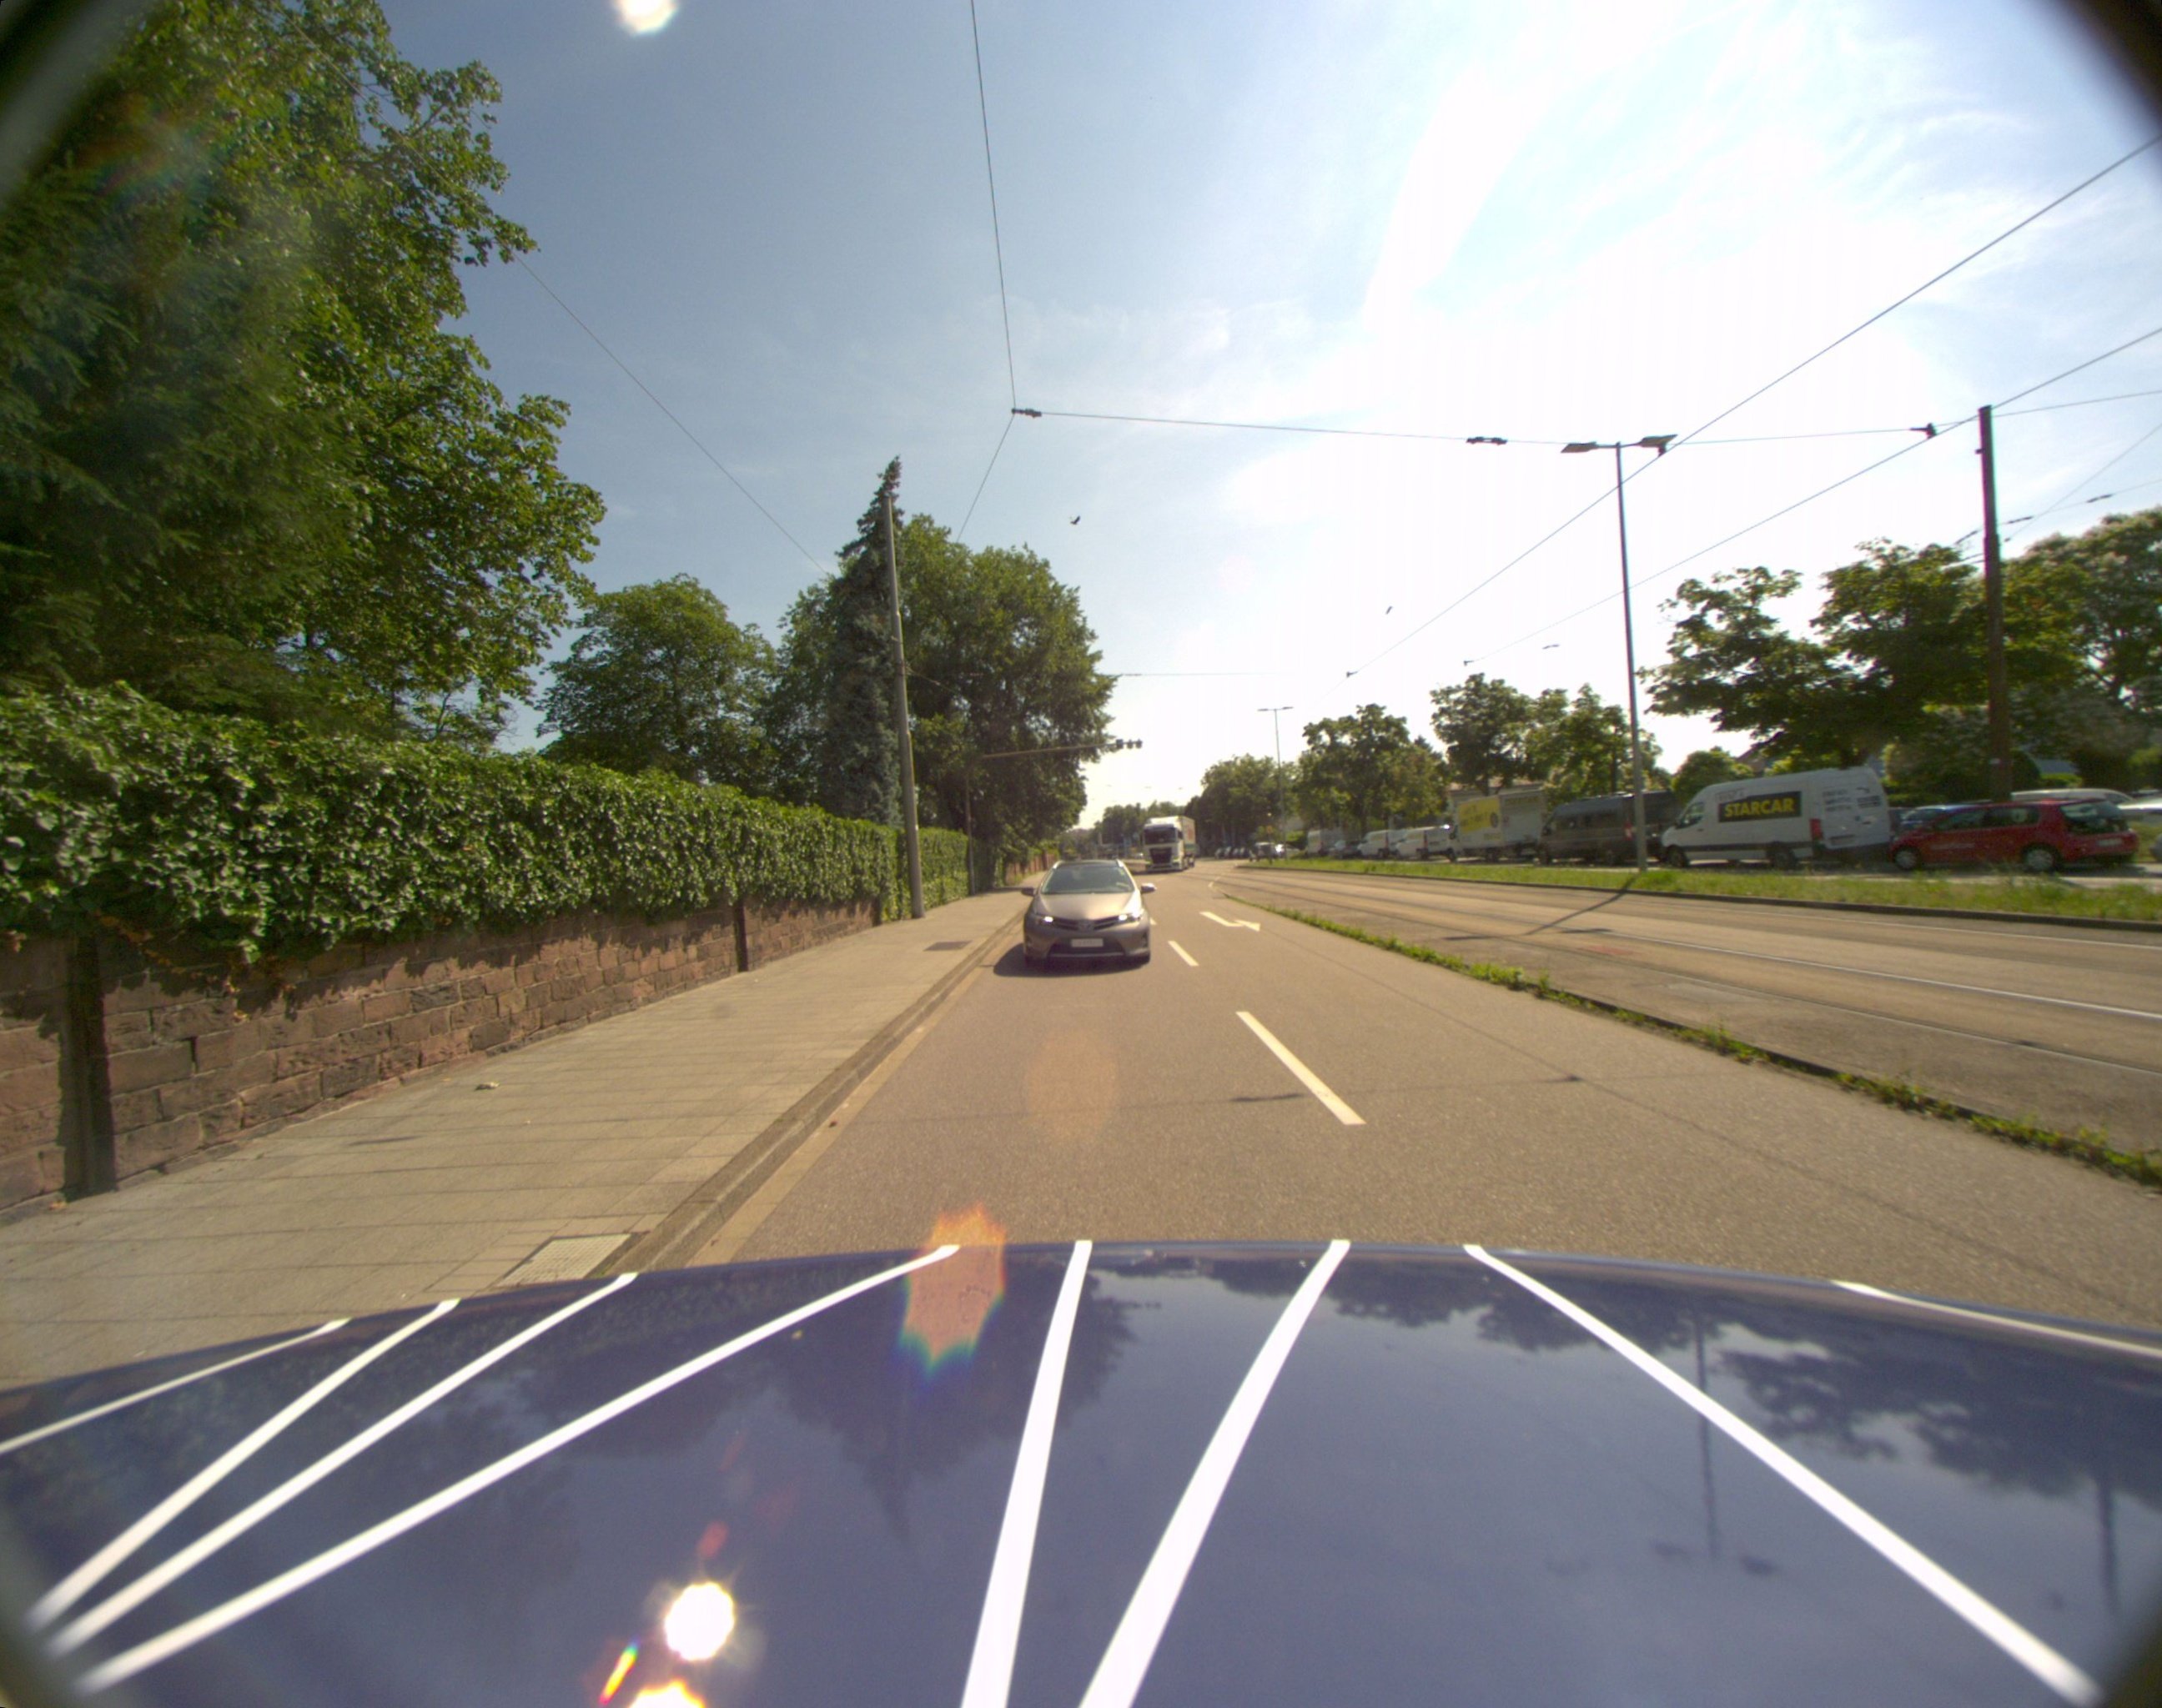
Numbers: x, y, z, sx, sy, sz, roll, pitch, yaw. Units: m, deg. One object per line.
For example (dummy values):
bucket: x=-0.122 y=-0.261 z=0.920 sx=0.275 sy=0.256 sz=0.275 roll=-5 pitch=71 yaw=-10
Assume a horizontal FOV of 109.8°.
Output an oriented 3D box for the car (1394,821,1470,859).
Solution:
car: x=20.894 y=-0.779 z=45.518 sx=2.201 sy=1.929 sz=5.185 roll=-5 pitch=0 yaw=2

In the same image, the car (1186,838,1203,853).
car: x=21.345 y=-1.543 z=143.318 sx=2.016 sy=2.636 sz=6.086 roll=-7 pitch=0 yaw=1

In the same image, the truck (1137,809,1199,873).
truck: x=6.971 y=-0.948 z=58.555 sx=3.389 sy=4.045 sz=14.296 roll=-5 pitch=0 yaw=11

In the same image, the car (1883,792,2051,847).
car: x=31.593 y=-1.209 z=27.172 sx=3.997 sy=1.684 sz=1.663 roll=-3 pitch=1 yaw=0

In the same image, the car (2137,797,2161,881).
car: x=20.075 y=-0.320 z=11.773 sx=1.295 sy=1.481 sz=4.351 roll=-5 pitch=0 yaw=1

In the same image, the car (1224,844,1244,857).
car: x=21.136 y=-0.468 z=105.155 sx=1.679 sy=1.603 sz=4.241 roll=-3 pitch=1 yaw=-1

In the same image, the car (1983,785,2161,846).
car: x=31.685 y=-1.210 z=24.141 sx=3.997 sy=1.684 sz=1.663 roll=-3 pitch=1 yaw=0

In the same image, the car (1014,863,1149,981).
car: x=0.147 y=0.927 z=12.030 sx=1.719 sy=1.439 sz=4.031 roll=-2 pitch=0 yaw=4

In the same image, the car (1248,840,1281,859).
car: x=16.198 y=-0.407 z=67.238 sx=2.048 sy=1.588 sz=4.661 roll=-2 pitch=0 yaw=4

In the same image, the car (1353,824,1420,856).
car: x=21.104 y=-0.891 z=52.773 sx=2.202 sy=1.929 sz=5.183 roll=-5 pitch=0 yaw=-3

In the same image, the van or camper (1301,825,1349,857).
van or camper: x=20.953 y=-1.093 z=65.680 sx=2.262 sy=2.500 sz=6.148 roll=-3 pitch=0 yaw=2

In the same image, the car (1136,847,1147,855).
car: x=14.837 y=-0.781 z=185.825 sx=1.999 sy=1.805 sz=3.998 roll=-4 pitch=1 yaw=-5

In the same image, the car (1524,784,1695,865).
car: x=20.184 y=-1.049 z=29.495 sx=2.201 sy=2.653 sz=6.079 roll=-5 pitch=0 yaw=0

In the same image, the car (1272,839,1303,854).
car: x=21.820 y=-0.807 z=80.248 sx=1.793 sy=1.414 sz=4.343 roll=-3 pitch=0 yaw=34

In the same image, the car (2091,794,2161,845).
car: x=31.385 y=-1.049 z=21.433 sx=3.998 sy=1.363 sz=1.488 roll=-3 pitch=1 yaw=-3

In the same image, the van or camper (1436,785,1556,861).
van or camper: x=20.339 y=-1.416 z=37.708 sx=2.201 sy=3.222 sz=6.772 roll=-5 pitch=0 yaw=2

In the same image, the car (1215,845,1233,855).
car: x=21.109 y=-0.580 z=112.337 sx=1.679 sy=1.427 sz=4.457 roll=-3 pitch=0 yaw=-1

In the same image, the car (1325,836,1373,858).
car: x=20.696 y=-0.545 z=58.988 sx=1.937 sy=1.446 sz=4.885 roll=-5 pitch=0 yaw=1

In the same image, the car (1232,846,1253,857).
car: x=21.194 y=-0.333 z=99.963 sx=1.701 sy=1.387 sz=4.581 roll=-3 pitch=0 yaw=1

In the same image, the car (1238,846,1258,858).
car: x=20.894 y=-0.259 z=95.098 sx=1.619 sy=1.442 sz=4.083 roll=-3 pitch=0 yaw=2

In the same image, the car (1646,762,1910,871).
car: x=20.120 y=-0.960 z=22.495 sx=2.201 sy=2.615 sz=5.979 roll=-5 pitch=0 yaw=1

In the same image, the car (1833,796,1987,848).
car: x=31.528 y=-1.199 z=28.982 sx=3.997 sy=1.684 sz=1.663 roll=-3 pitch=1 yaw=0

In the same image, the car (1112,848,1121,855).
car: x=10.532 y=-0.797 z=225.885 sx=1.999 sy=1.783 sz=3.998 roll=-4 pitch=0 yaw=-5

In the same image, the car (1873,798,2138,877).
car: x=20.048 y=-0.336 z=16.738 sx=1.295 sy=1.482 sz=3.676 roll=-4 pitch=0 yaw=-1
